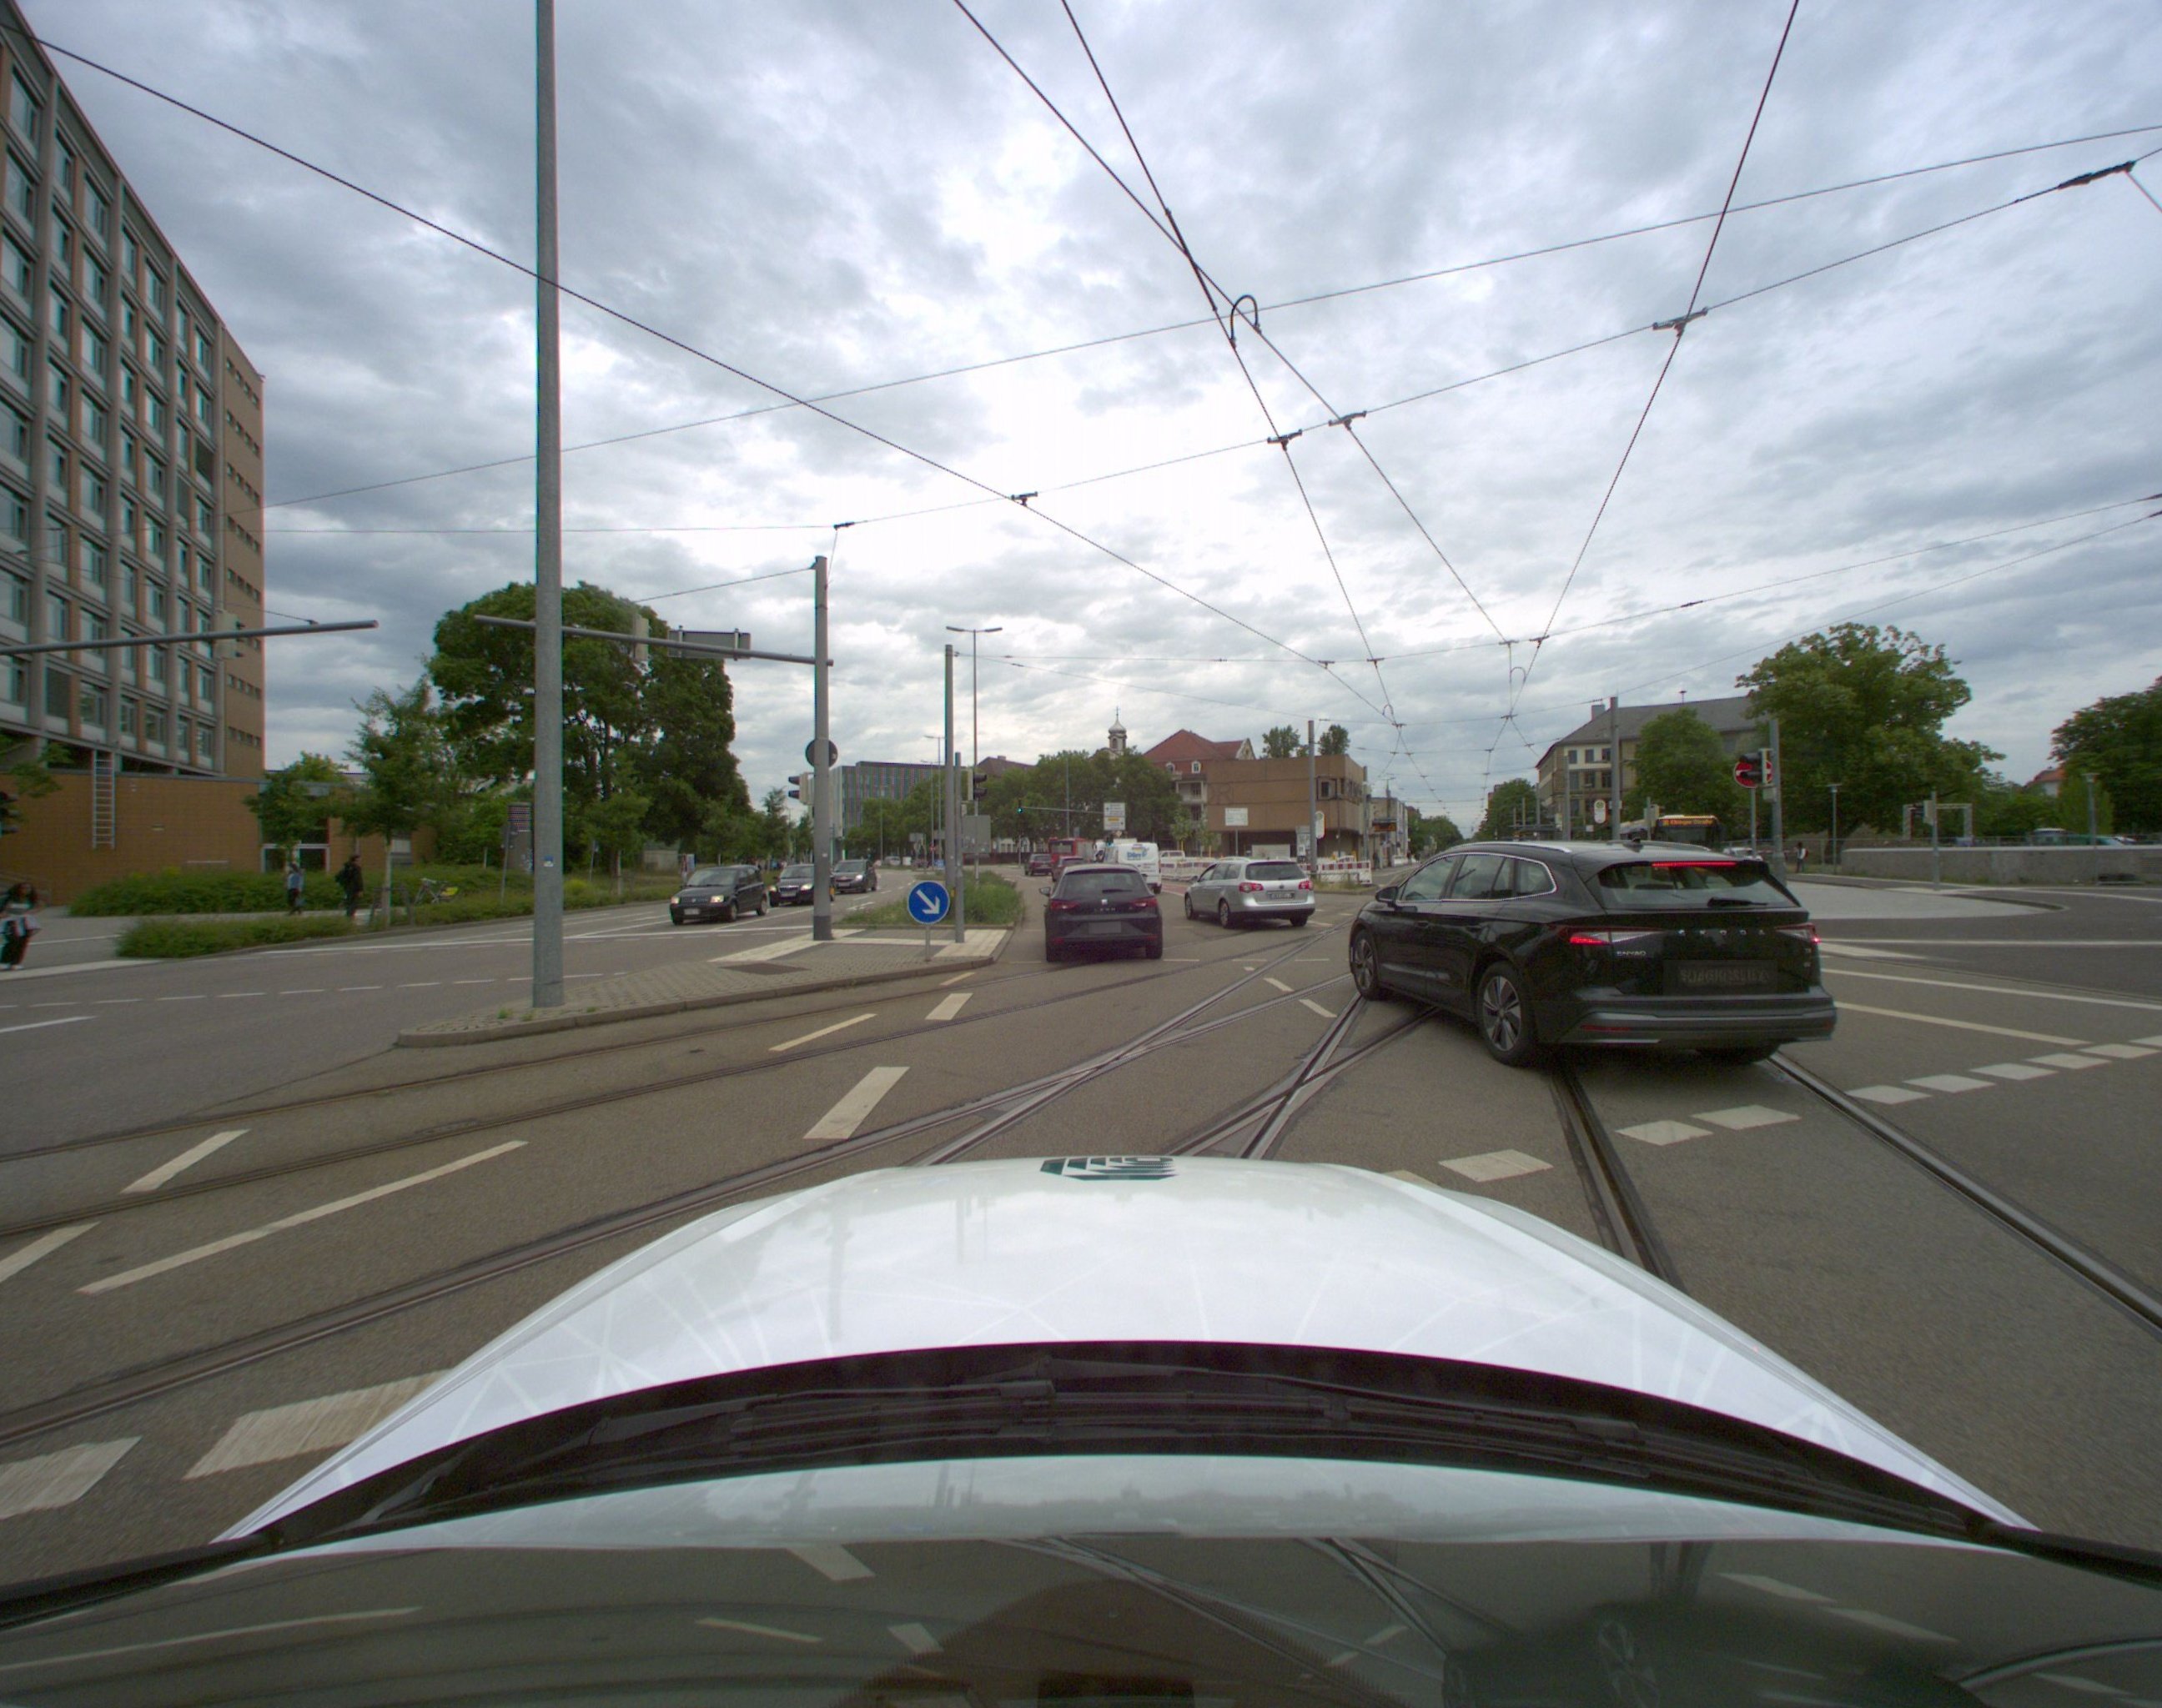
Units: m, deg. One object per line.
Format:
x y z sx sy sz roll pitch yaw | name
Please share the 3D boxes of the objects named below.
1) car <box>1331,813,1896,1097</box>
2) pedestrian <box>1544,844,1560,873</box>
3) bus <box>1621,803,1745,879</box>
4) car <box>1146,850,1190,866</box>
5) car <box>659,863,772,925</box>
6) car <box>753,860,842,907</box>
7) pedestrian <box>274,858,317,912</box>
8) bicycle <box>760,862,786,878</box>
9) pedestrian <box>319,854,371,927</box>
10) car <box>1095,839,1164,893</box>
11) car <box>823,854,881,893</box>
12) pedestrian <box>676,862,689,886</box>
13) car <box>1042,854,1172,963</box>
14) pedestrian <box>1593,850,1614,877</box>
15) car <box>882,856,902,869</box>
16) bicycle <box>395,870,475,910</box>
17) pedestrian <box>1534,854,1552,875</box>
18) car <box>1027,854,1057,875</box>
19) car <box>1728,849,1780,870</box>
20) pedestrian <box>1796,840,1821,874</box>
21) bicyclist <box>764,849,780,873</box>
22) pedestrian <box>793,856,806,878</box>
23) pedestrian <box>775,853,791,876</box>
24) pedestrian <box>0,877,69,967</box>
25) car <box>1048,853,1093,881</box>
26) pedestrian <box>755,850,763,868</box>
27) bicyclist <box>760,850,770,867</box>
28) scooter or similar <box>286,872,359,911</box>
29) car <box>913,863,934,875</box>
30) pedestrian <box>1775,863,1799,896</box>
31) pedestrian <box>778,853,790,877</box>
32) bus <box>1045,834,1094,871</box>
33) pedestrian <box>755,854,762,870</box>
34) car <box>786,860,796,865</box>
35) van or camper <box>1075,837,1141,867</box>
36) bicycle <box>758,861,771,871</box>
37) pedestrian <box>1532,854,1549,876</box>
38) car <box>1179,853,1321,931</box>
3.855 0.615 7.082 1.898 1.658 4.512 0 -1 -1 | car
30.138 0.280 52.122 0.816 1.808 1.027 -1 -2 30 | pedestrian
30.100 -0.486 41.387 2.988 3.268 13.120 -1 -1 27 | bus
10.444 0.501 98.161 5.019 1.865 1.981 0 -4 -30 | car
-9.856 1.009 22.245 1.615 1.515 3.659 -1 -1 -4 | car
-10.244 1.025 29.788 1.867 1.508 4.472 -3 0 -4 | car
-25.922 1.004 26.872 0.744 1.734 0.686 -1 -1 0 | pedestrian
-23.638 1.229 62.465 0.782 1.159 1.917 -1 -1 22 | bicycle
-20.176 0.987 22.336 0.816 1.980 0.658 -1 -1 0 | pedestrian
1.878 0.461 33.097 1.991 2.019 5.020 0 -1 -7 | car
-11.099 0.920 39.755 1.868 1.725 4.702 -1 -1 -6 | car
-26.142 1.286 53.439 0.561 1.541 0.753 0 -1 -9 | pedestrian
0.270 0.774 13.297 1.742 1.464 3.995 -1 0 -3 | car
31.624 0.567 49.268 0.995 1.645 1.027 -1 -1 30 | pedestrian
-30.716 1.414 132.252 2.007 2.014 3.960 -1 -1 -32 | car
-24.544 1.329 31.003 0.839 1.449 2.265 -1 -1 20 | bicycle
31.250 0.704 55.121 1.008 1.403 1.014 -1 -1 31 | pedestrian
-3.091 0.808 63.787 1.992 1.566 4.194 0 -1 -7 | car
56.849 0.446 68.839 1.895 1.662 4.016 -1 -1 15 | car
40.616 0.190 45.477 0.816 1.853 1.027 -1 -1 30 | pedestrian
-23.664 0.528 62.426 0.783 1.844 0.838 -1 -1 21 | bicyclist
-23.489 1.075 67.971 0.892 1.842 0.665 0 -1 -8 | pedestrian
-24.151 0.867 65.908 1.048 1.842 0.863 0 -1 -8 | pedestrian
-18.850 1.199 14.562 0.576 1.551 0.749 -1 -1 0 | pedestrian
-0.711 0.798 49.521 1.860 1.600 4.185 0 -1 -14 | car
-35.940 0.566 90.871 0.757 2.014 1.041 -1 -1 -17 | pedestrian
-29.080 0.444 74.874 0.715 1.570 0.709 -1 -1 -10 | bicyclist
-26.741 1.300 28.724 1.774 1.302 0.626 0 -1 -17 | scooter or similar
-23.835 2.235 123.422 1.929 1.684 3.961 -1 -1 -30 | car
39.775 1.427 45.897 0.816 1.808 1.027 -1 -1 30 | pedestrian
-23.605 0.888 64.697 0.756 1.842 0.764 -1 -1 -8 | pedestrian
-0.929 -0.024 78.939 3.042 3.298 12.403 0 -1 7 | bus
-42.353 1.059 106.867 0.757 2.014 1.041 0 -1 -17 | pedestrian
-71.335 2.049 200.456 1.722 1.265 3.309 -1 0 -29 | car
3.141 -0.220 94.156 7.173 3.332 2.849 0 -2 -30 | van or camper
-29.070 1.073 74.890 0.715 0.882 1.877 -1 0 -9 | bicycle
32.159 0.763 56.997 1.008 1.576 1.014 -1 -1 29 | pedestrian
3.597 0.762 18.268 1.719 1.482 4.617 -1 0 -7 | car
